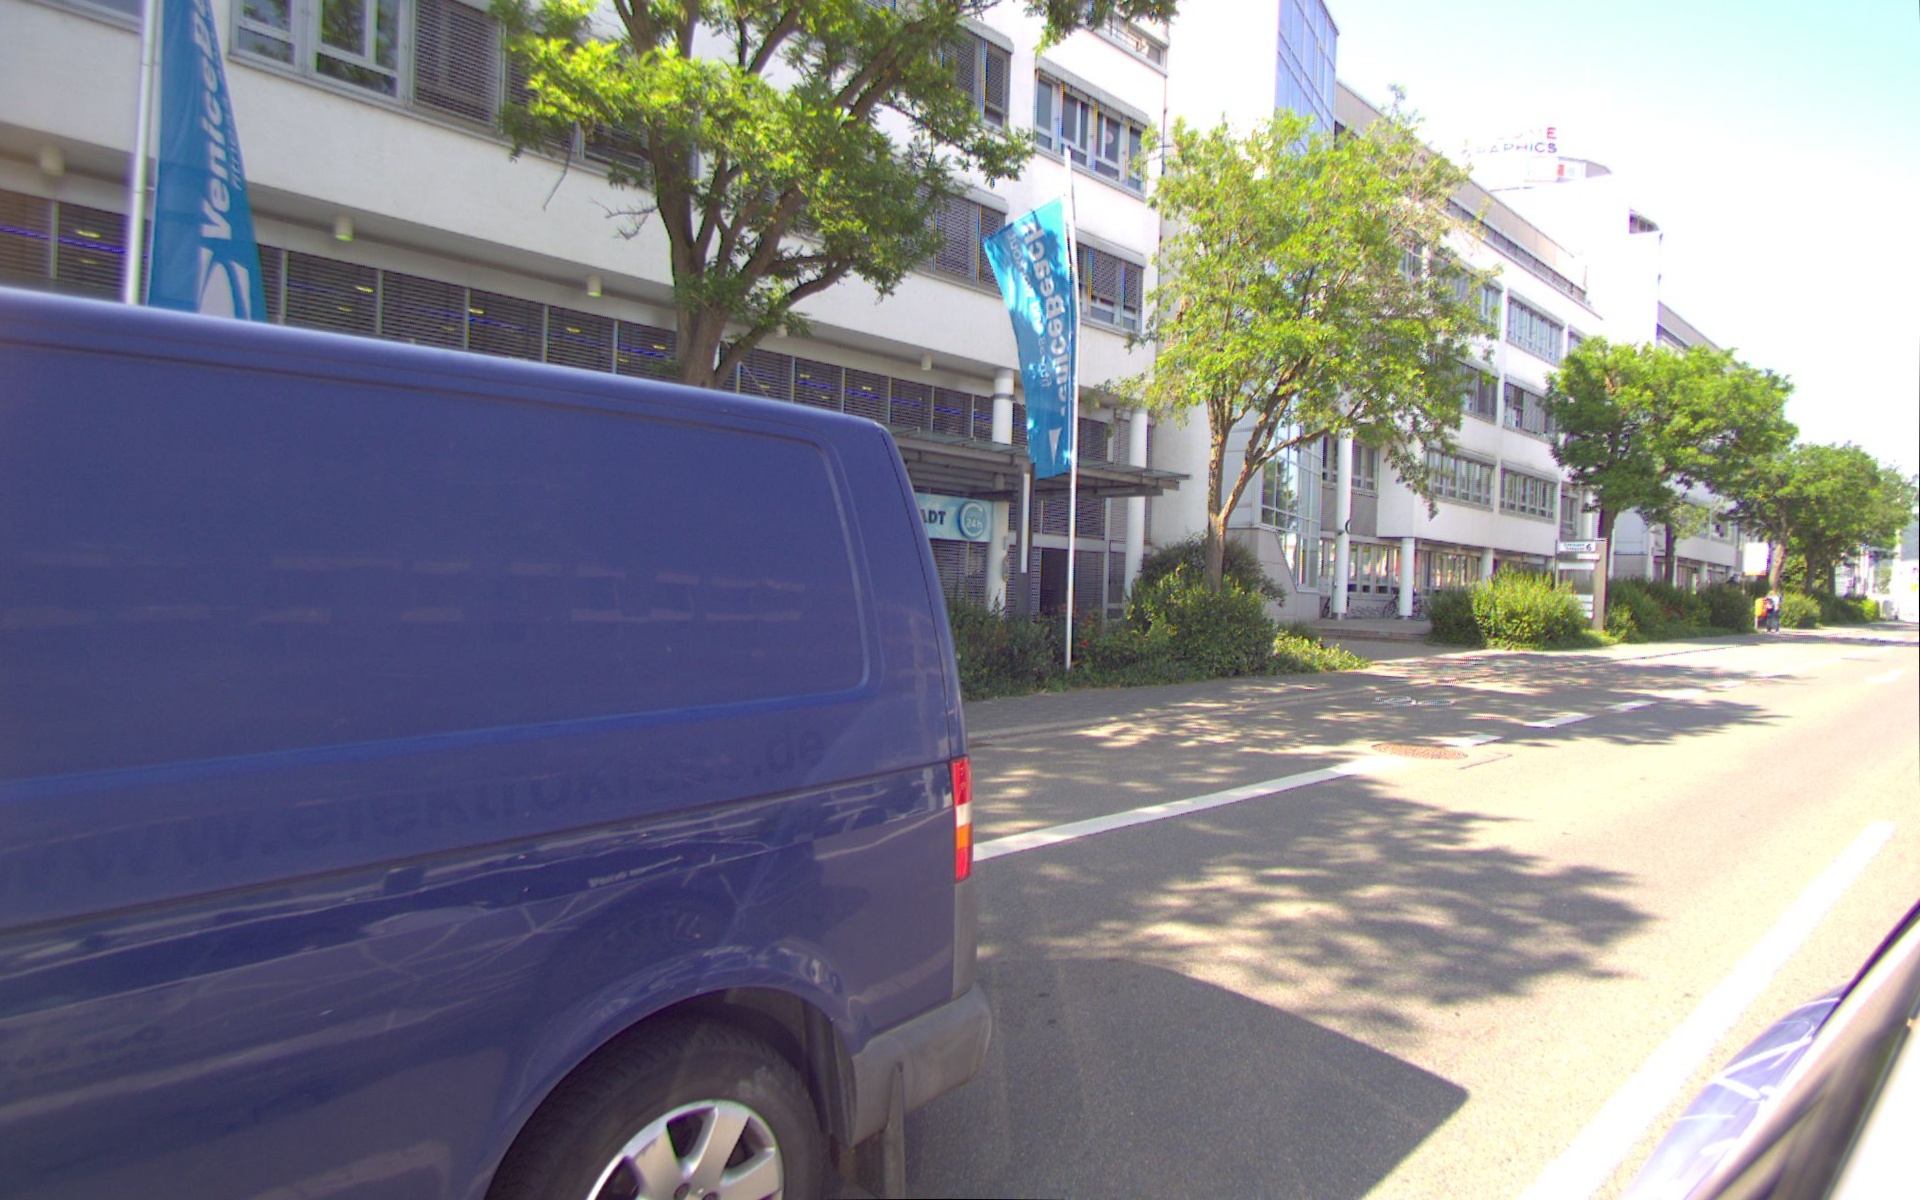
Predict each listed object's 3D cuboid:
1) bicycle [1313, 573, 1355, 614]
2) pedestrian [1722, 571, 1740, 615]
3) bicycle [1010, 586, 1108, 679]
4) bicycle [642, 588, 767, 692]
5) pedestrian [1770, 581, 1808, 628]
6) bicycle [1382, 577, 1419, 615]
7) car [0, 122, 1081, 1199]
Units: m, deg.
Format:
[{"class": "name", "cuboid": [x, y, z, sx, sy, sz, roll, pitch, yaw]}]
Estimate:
[{"class": "bicycle", "cuboid": [12.886, -0.214, 34.880, 1.852, 1.371, 0.506, 0, 1, -41]}, {"class": "pedestrian", "cuboid": [46.671, -0.431, 61.233, 0.704, 2.581, 0.716, 0, 1, -43]}, {"class": "bicycle", "cuboid": [1.564, 0.478, 15.685, 0.504, 1.346, 1.856, 2, 1, 41]}, {"class": "bicycle", "cuboid": [-3.642, 0.535, 14.374, 1.868, 1.346, 0.501, 2, 1, 30]}, {"class": "pedestrian", "cuboid": [35.183, 0.196, 42.941, 1.267, 1.909, 0.942, 0, 4, -41]}, {"class": "bicycle", "cuboid": [16.335, -0.145, 37.511, 1.852, 1.371, 0.506, 0, 1, -41]}, {"class": "car", "cuboid": [-2.177, 0.408, 1.592, 4.806, 1.972, 1.997, -1, 2, -41]}]
